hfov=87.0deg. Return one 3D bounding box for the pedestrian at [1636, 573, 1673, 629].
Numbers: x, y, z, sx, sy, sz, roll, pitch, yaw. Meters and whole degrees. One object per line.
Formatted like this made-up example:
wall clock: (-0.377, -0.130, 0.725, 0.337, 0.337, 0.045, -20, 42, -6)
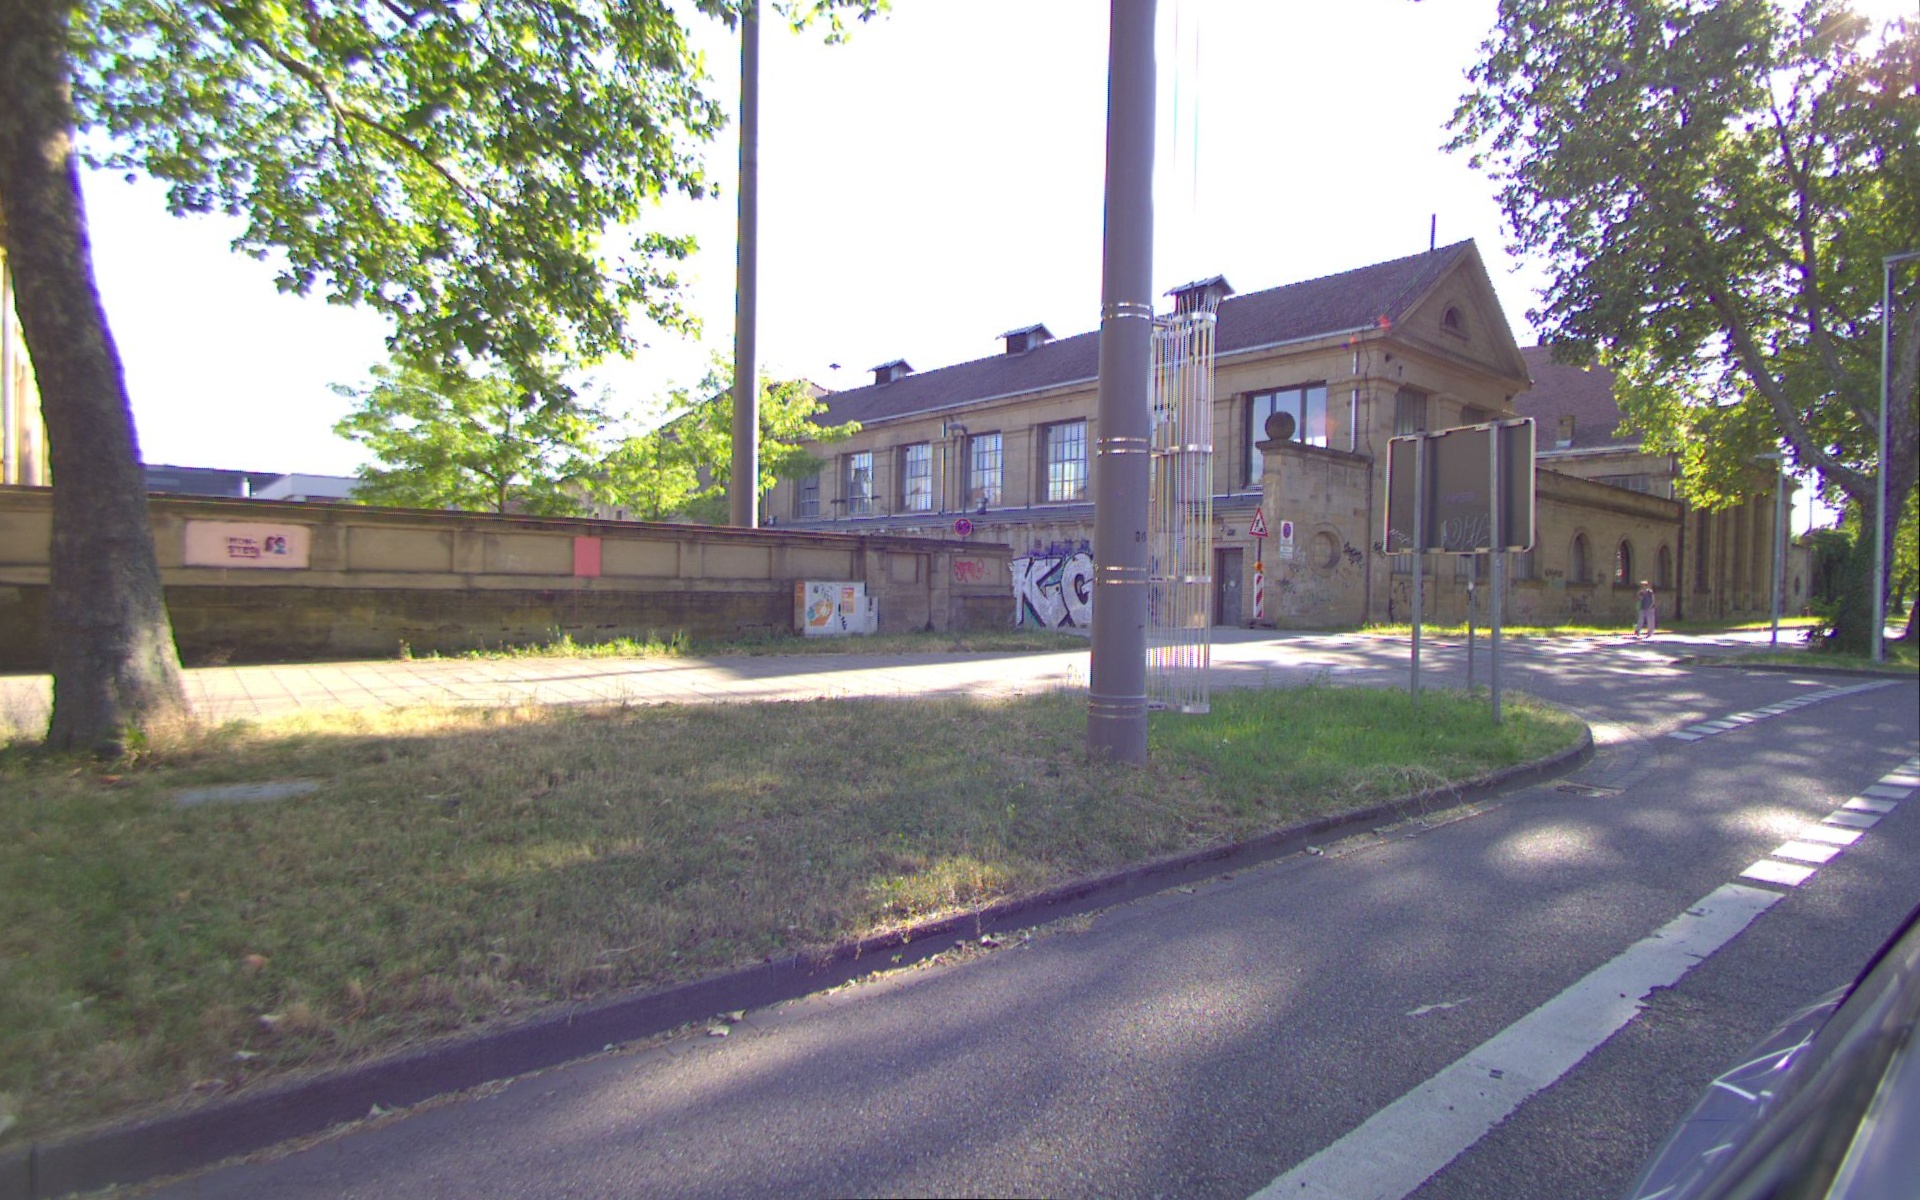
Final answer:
pedestrian: (21.219, 0.027, 30.916, 0.858, 1.682, 0.672, 1, 2, -39)
